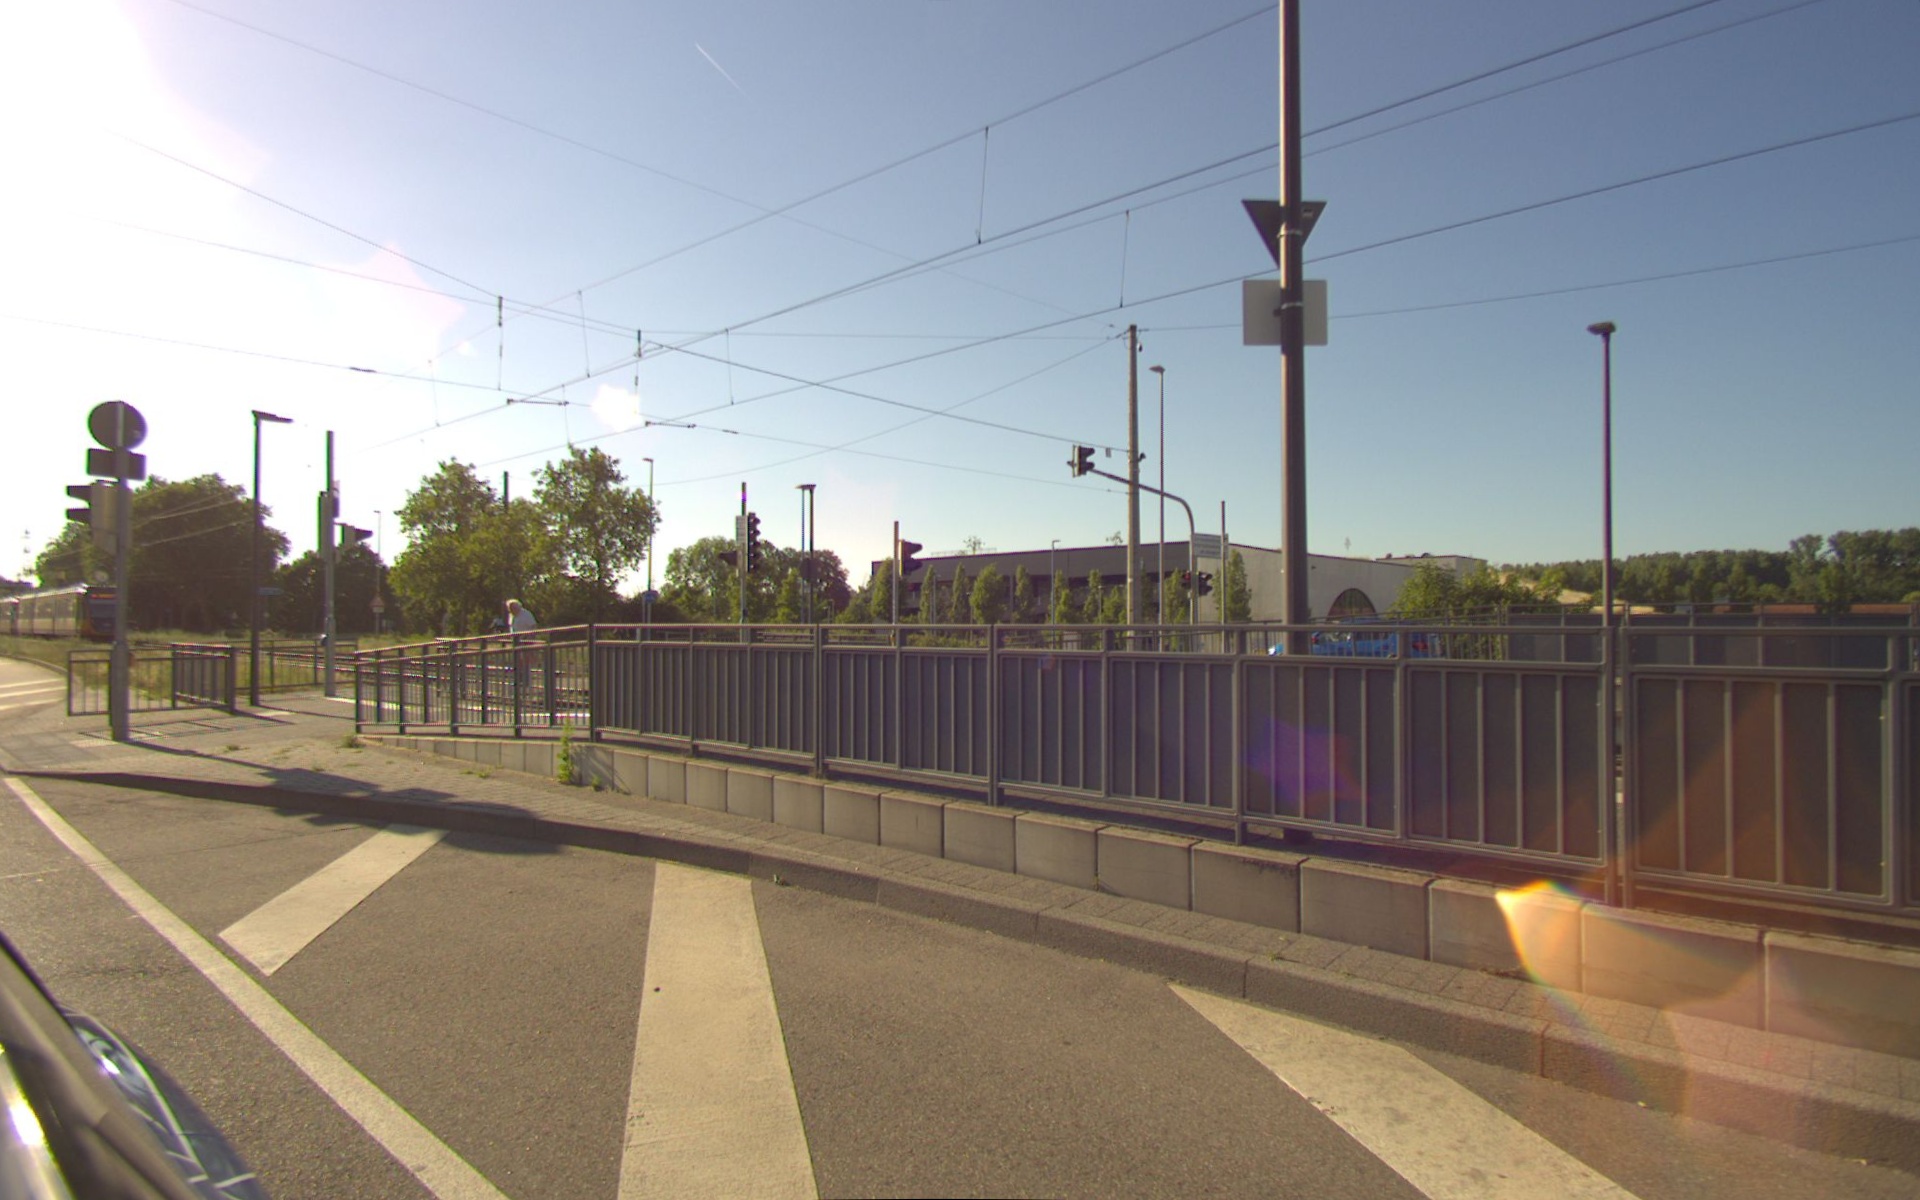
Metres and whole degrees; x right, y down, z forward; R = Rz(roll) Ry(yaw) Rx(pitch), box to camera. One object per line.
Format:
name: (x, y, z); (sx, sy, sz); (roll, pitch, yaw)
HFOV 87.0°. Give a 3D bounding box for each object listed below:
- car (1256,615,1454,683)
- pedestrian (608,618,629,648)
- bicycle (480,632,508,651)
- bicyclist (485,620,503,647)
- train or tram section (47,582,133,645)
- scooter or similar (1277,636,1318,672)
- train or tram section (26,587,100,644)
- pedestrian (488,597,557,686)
car: (9.232, 1.101, 23.810); (3.999, 1.457, 1.714); (-1, -2, 42)
pedestrian: (-18.392, 1.763, 54.538); (0.878, 1.621, 0.713); (-1, -2, 42)
bicycle: (-28.426, 2.521, 61.681); (2.528, 1.136, 0.624); (-1, -2, 42)
bicyclist: (-28.387, 2.061, 61.656); (0.835, 1.629, 0.760); (-1, -2, 42)
train or tram section: (-58.935, 0.972, 68.429); (12.108, 3.977, 2.853); (-1, -1, 42)
scooter or similar: (10.386, 1.650, 31.112); (1.131, 1.104, 0.400); (-1, -2, 31)
train or tram section: (-67.660, 1.195, 76.219); (11.336, 3.977, 2.853); (-1, -1, 42)
pedestrian: (-8.438, 0.795, 19.519); (0.986, 1.657, 0.880); (-2, -2, 41)
